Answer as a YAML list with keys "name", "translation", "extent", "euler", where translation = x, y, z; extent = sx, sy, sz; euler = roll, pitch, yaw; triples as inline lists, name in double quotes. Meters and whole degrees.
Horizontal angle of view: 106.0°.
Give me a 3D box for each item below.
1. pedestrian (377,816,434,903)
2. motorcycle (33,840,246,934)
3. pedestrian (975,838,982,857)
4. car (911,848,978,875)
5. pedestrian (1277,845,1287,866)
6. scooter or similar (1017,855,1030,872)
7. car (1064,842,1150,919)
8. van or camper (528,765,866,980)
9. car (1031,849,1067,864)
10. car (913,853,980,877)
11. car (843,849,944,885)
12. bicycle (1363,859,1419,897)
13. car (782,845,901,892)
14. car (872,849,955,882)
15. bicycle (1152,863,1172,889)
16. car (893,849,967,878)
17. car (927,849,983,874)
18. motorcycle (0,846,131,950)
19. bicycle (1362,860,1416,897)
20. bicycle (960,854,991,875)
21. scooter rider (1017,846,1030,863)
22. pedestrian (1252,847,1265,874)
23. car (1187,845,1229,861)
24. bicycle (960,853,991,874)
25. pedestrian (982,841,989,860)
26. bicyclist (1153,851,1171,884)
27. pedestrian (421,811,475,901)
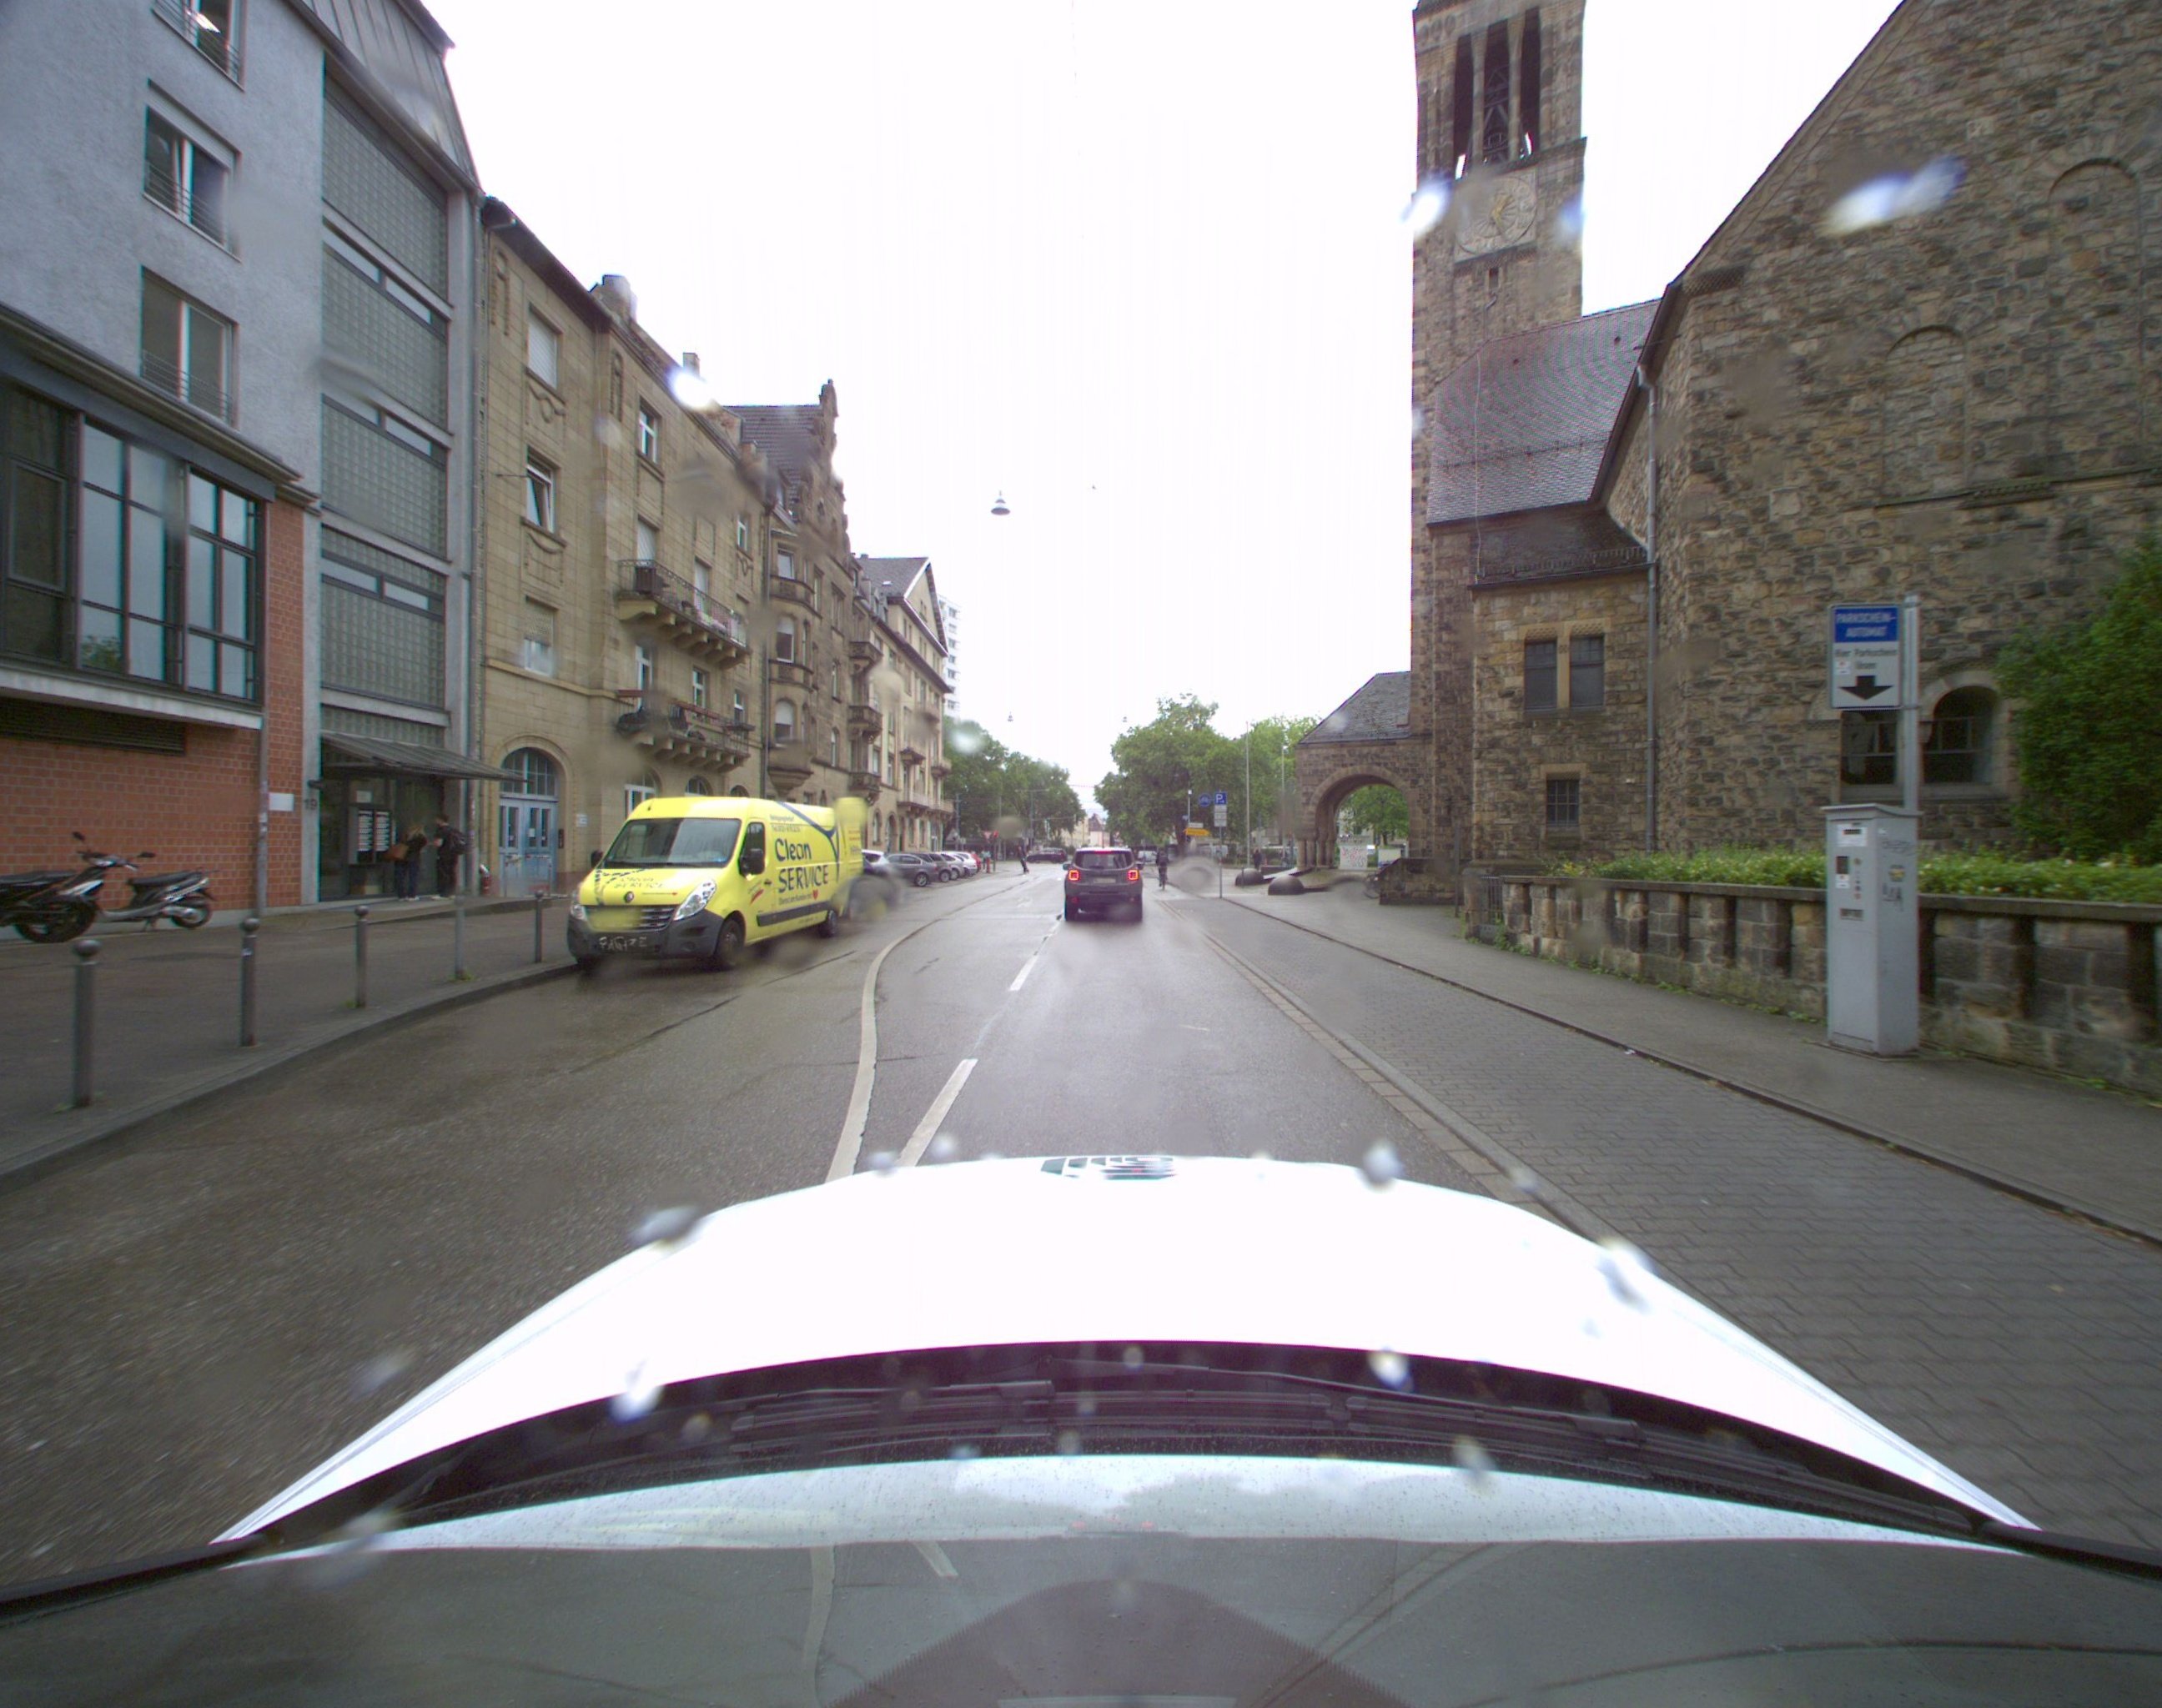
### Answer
- name: "pedestrian"
  translation: [-13.395, 0.106, 16.174]
  extent: [0.663, 1.675, 0.791]
  euler: [0, 0, -23]
- name: "motorcycle"
  translation: [-12.930, 0.433, 11.265]
  extent: [0.566, 1.174, 1.790]
  euler: [3, 0, 24]
- name: "pedestrian"
  translation: [-8.625, -0.567, 68.535]
  extent: [0.466, 1.585, 0.659]
  euler: [0, 0, 0]
- name: "car"
  translation: [-8.431, 0.455, 50.337]
  extent: [3.755, 1.558, 1.655]
  euler: [2, -1, -32]
- name: "pedestrian"
  translation: [16.457, 0.108, 66.583]
  extent: [0.676, 1.711, 0.696]
  euler: [-1, 0, 19]
- name: "scooter or similar"
  translation: [-4.214, 0.694, 60.027]
  extent: [0.848, 1.212, 0.986]
  euler: [-1, -2, 1]
- name: "car"
  translation: [0.586, 0.588, 20.110]
  extent: [1.892, 1.671, 4.505]
  euler: [0, 0, 0]
- name: "van or camper"
  translation: [-5.634, 0.336, 13.454]
  extent: [2.114, 2.531, 6.875]
  euler: [-3, -2, 1]
- name: "car"
  translation: [-3.715, 0.273, 94.223]
  extent: [3.846, 1.611, 1.550]
  euler: [-1, 0, 21]
- name: "car"
  translation: [-7.861, 0.668, 47.706]
  extent: [3.436, 1.316, 1.761]
  euler: [2, -1, -32]
- name: "car"
  translation: [-8.199, 0.587, 35.724]
  extent: [3.873, 1.479, 1.864]
  euler: [2, -1, -40]
- name: "bicycle"
  translation: [9.120, 0.708, 23.950]
  extent: [1.509, 1.102, 0.365]
  euler: [-1, 0, 22]
- name: "car"
  translation: [-8.583, 0.531, 29.247]
  extent: [3.680, 1.558, 1.780]
  euler: [2, -1, -35]
- name: "car"
  translation: [-8.488, 0.574, 41.401]
  extent: [3.680, 1.558, 1.789]
  euler: [2, -1, -35]
- name: "bicycle"
  translation: [3.481, 0.933, 35.051]
  extent: [0.702, 1.054, 1.813]
  euler: [-1, 0, 2]
- name: "car"
  translation: [-8.255, 0.531, 44.598]
  extent: [3.520, 1.518, 1.866]
  euler: [2, -1, -32]
- name: "car"
  translation: [-8.271, 0.521, 53.639]
  extent: [3.267, 1.558, 1.520]
  euler: [2, -1, -32]
- name: "motorcycle"
  translation: [-12.798, 0.506, 9.467]
  extent: [0.748, 1.174, 2.123]
  euler: [3, 0, 13]
- name: "bicycle"
  translation: [9.212, 0.722, 24.357]
  extent: [1.474, 1.102, 0.365]
  euler: [-1, 0, 22]
- name: "bicycle"
  translation: [-7.532, 0.721, 58.116]
  extent: [2.099, 1.444, 0.487]
  euler: [-1, 0, -19]
- name: "scooter rider"
  translation: [-4.229, 0.034, 60.076]
  extent: [0.877, 1.220, 0.984]
  euler: [0, -2, 1]
- name: "pedestrian"
  translation: [11.350, 0.442, 52.083]
  extent: [0.688, 1.711, 0.684]
  euler: [-1, 0, 1]
- name: "car"
  translation: [18.508, -0.157, 119.011]
  extent: [5.876, 2.334, 2.062]
  euler: [-1, 0, 4]
- name: "bicycle"
  translation: [-7.416, 0.688, 57.122]
  extent: [2.116, 1.444, 0.536]
  euler: [-1, 0, -19]
- name: "pedestrian"
  translation: [-8.082, -0.277, 68.740]
  extent: [0.466, 1.585, 0.752]
  euler: [0, 0, 0]
- name: "bicyclist"
  translation: [3.482, 0.560, 35.095]
  extent: [0.702, 1.403, 1.171]
  euler: [-1, 0, 1]
- name: "pedestrian"
  translation: [-12.766, 0.032, 16.437]
  extent: [0.663, 1.757, 0.791]
  euler: [0, 0, -23]
